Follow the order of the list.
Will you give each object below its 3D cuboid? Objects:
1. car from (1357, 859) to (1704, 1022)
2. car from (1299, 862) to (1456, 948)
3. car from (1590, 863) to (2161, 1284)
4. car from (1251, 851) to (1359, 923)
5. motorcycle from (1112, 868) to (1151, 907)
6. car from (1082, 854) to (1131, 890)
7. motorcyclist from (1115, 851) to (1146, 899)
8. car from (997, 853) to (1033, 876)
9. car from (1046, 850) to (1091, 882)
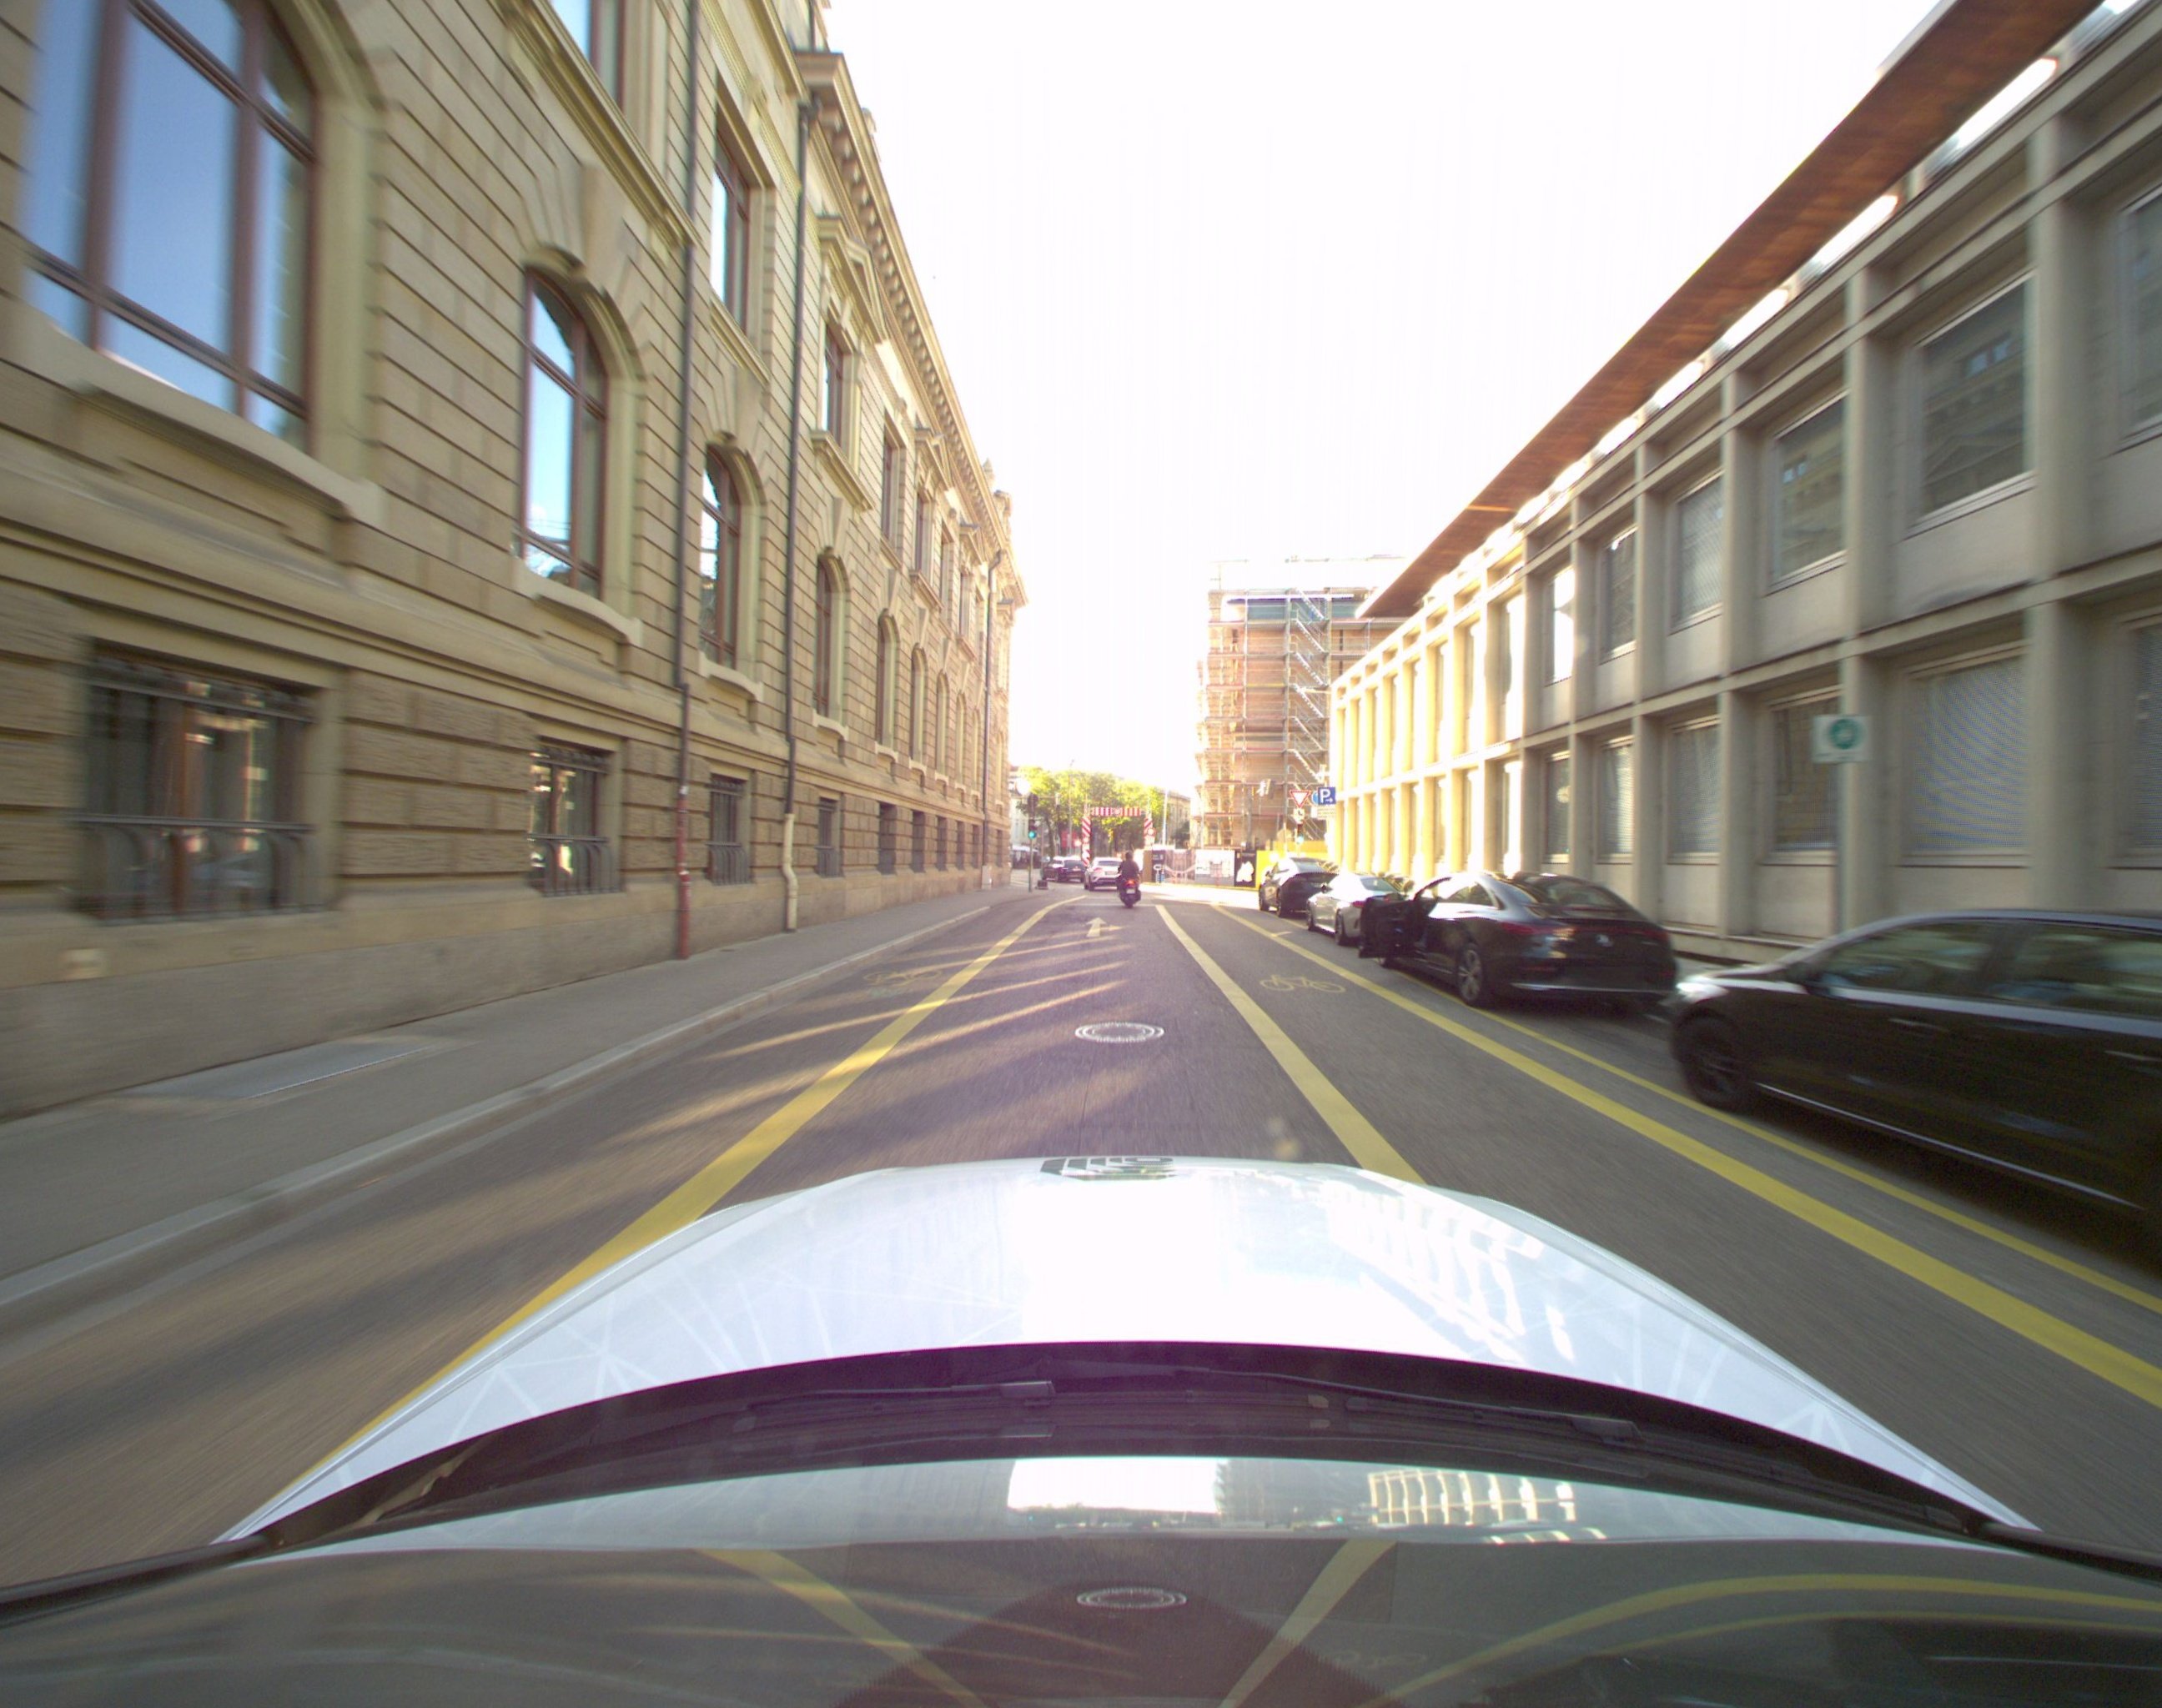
[{"bbox_3d":[5.132,0.855,10.215,1.818,1.501,4.738,2,-1,1],"label":"car"},{"bbox_3d":[5.724,0.923,16.314,1.816,1.399,4.484,2,-1,5],"label":"car"},{"bbox_3d":[4.971,0.874,4.439,1.774,1.479,4.290,2,1,1],"label":"car"},{"bbox_3d":[6.129,0.827,22.855,1.818,1.699,4.668,2,1,2],"label":"car"},{"bbox_3d":[1.495,0.991,24.457,0.872,1.109,1.835,0,-1,-7],"label":"motorcycle"},{"bbox_3d":[1.119,0.804,37.751,1.819,1.541,4.256,1,0,-5],"label":"car"},{"bbox_3d":[1.477,0.633,24.548,0.866,1.427,0.454,0,-1,-8],"label":"motorcyclist"},{"bbox_3d":[-5.394,0.844,66.134,1.998,1.664,4.334,-2,1,-16],"label":"car"},{"bbox_3d":[-0.802,0.708,48.973,1.833,1.838,3.980,0,-1,-14],"label":"car"}]
